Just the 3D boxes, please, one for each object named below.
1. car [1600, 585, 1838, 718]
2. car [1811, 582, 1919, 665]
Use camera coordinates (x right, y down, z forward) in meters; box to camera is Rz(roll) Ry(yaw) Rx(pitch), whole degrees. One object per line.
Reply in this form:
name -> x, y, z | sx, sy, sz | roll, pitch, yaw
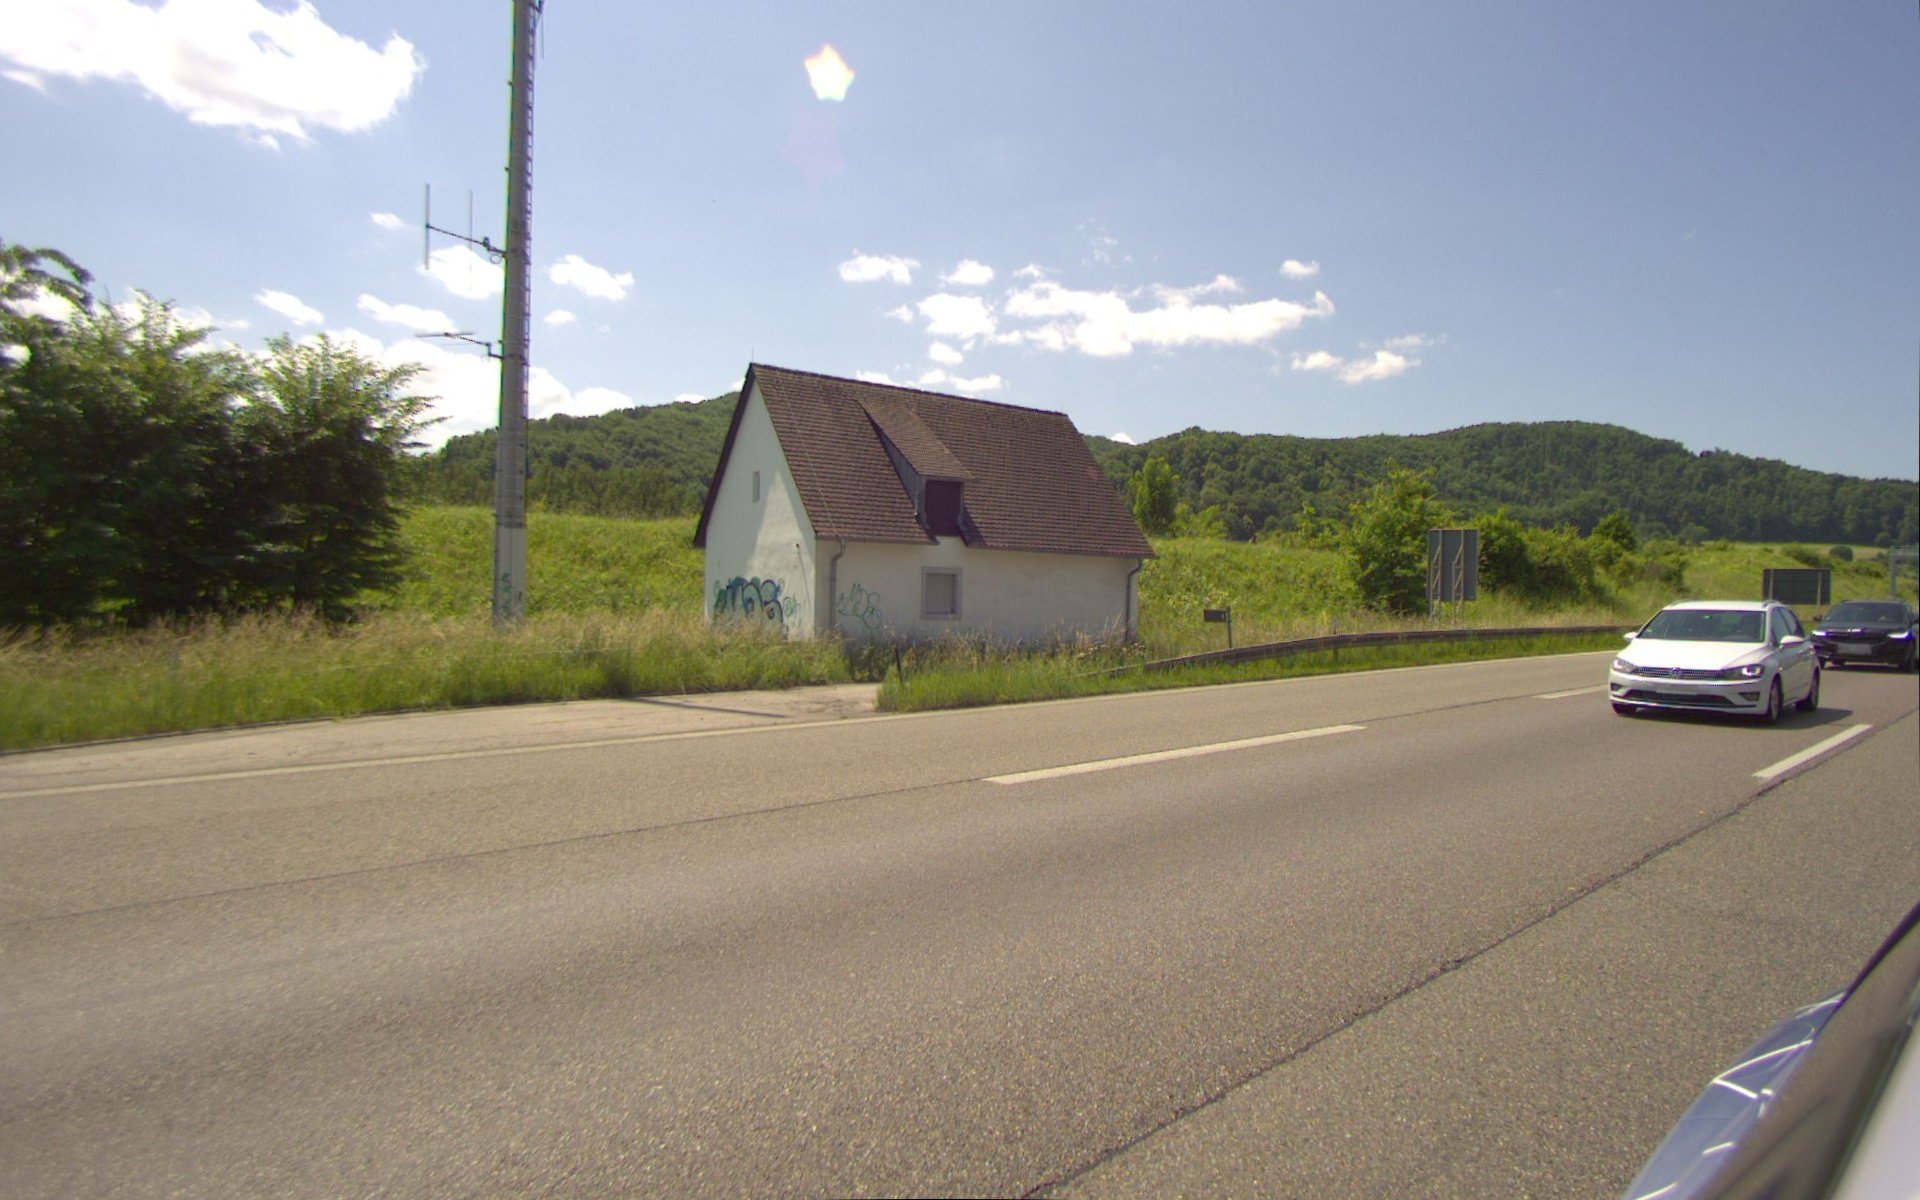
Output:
car -> 10.492, 0.600, 13.895 | 3.982, 1.560, 1.776 | 0, 0, -40
car -> 21.931, 0.507, 24.041 | 4.097, 1.794, 1.893 | 0, 1, -40
